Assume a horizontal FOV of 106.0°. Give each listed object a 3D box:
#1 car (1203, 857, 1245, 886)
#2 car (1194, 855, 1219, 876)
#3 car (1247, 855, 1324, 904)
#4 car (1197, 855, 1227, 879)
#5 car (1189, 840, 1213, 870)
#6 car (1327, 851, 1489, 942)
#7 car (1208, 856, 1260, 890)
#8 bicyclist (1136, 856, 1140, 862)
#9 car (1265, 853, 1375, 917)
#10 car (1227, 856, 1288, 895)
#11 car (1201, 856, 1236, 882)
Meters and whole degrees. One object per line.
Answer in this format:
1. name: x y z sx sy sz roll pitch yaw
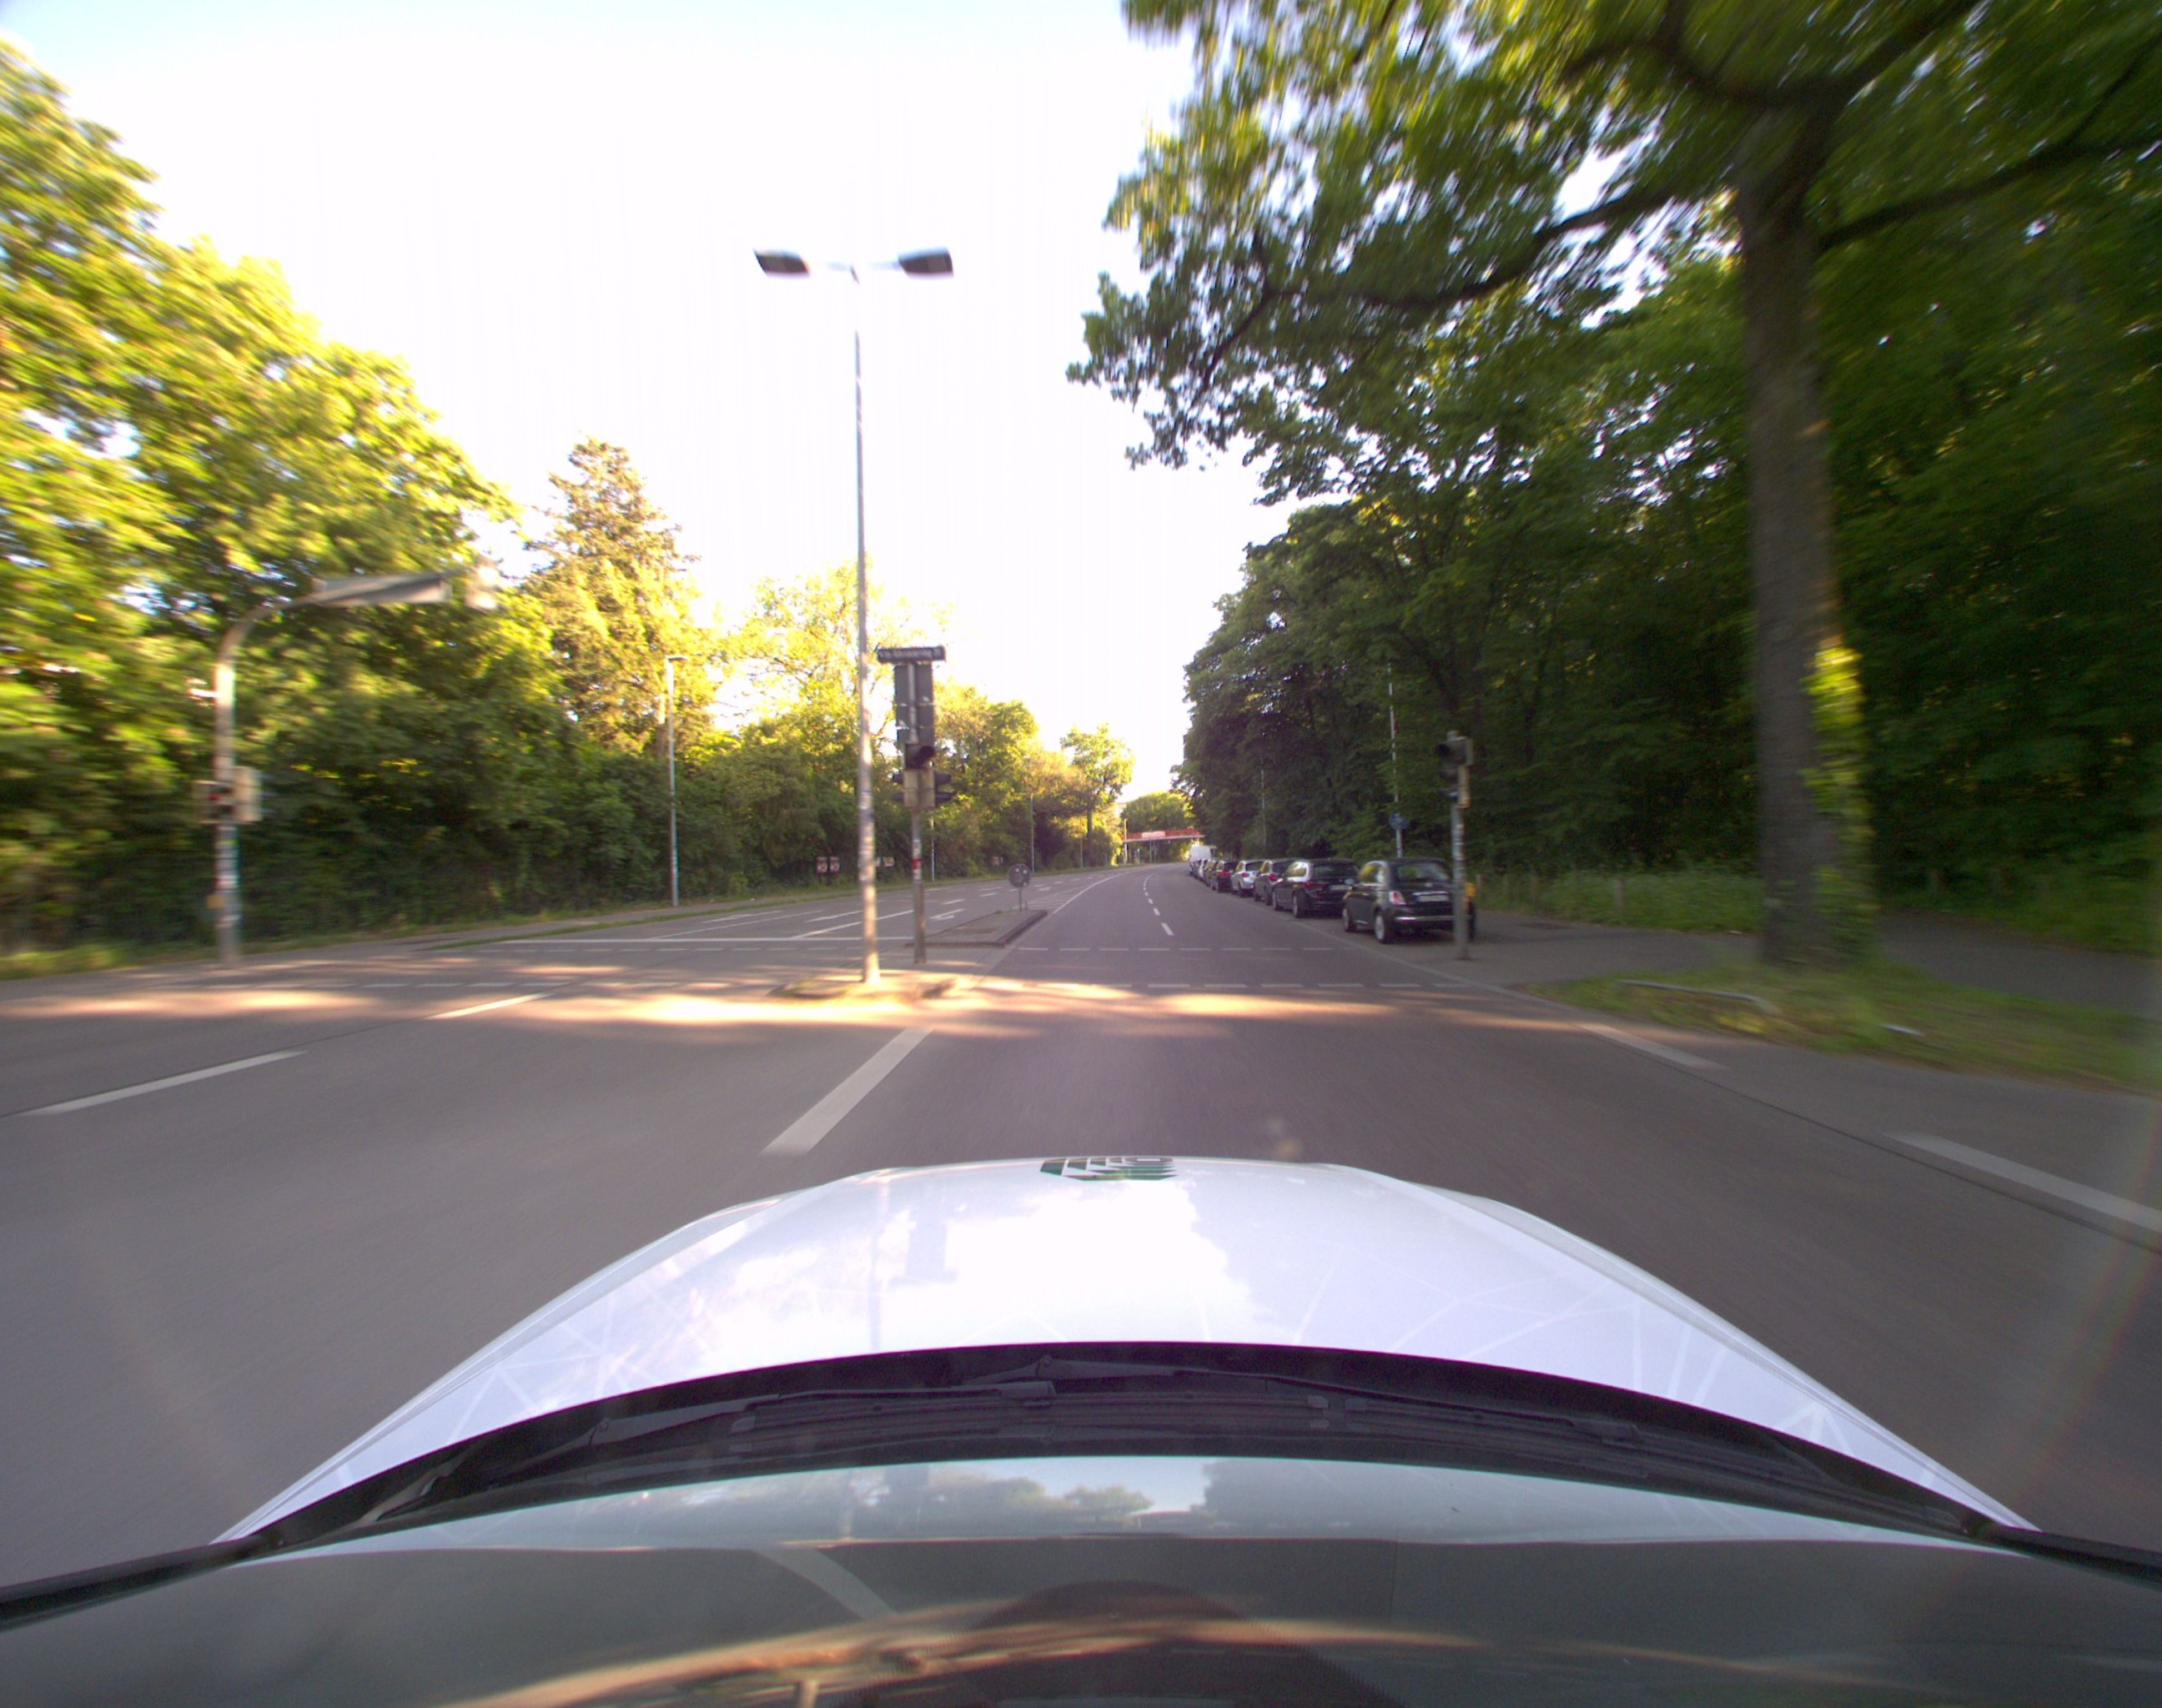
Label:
1. car: 7.531 0.886 43.137 1.710 1.411 4.493 -2 -1 4
2. car: 9.177 0.828 59.736 1.668 1.464 4.074 -2 -1 7
3. car: 6.832 0.817 27.607 1.711 1.469 4.205 -2 -1 3
4. car: 8.643 0.855 53.945 1.669 1.464 3.695 -2 -1 6
5. car: 10.546 0.095 71.503 1.893 2.423 5.588 -2 -1 8
6. car: 6.084 0.739 15.619 1.711 1.469 3.759 -2 -1 3
7. car: 7.018 0.858 37.764 1.711 1.411 4.491 -2 -1 3
8. bicyclist: 13.527 1.176 194.004 0.708 1.559 1.146 0 -1 9
9. car: 6.293 0.769 22.049 1.711 1.469 4.991 -2 -1 3
10. car: 7.023 0.833 32.811 1.711 1.411 4.127 -2 -1 3
11. car: 8.151 0.847 48.484 1.709 1.411 4.915 -2 -1 6
